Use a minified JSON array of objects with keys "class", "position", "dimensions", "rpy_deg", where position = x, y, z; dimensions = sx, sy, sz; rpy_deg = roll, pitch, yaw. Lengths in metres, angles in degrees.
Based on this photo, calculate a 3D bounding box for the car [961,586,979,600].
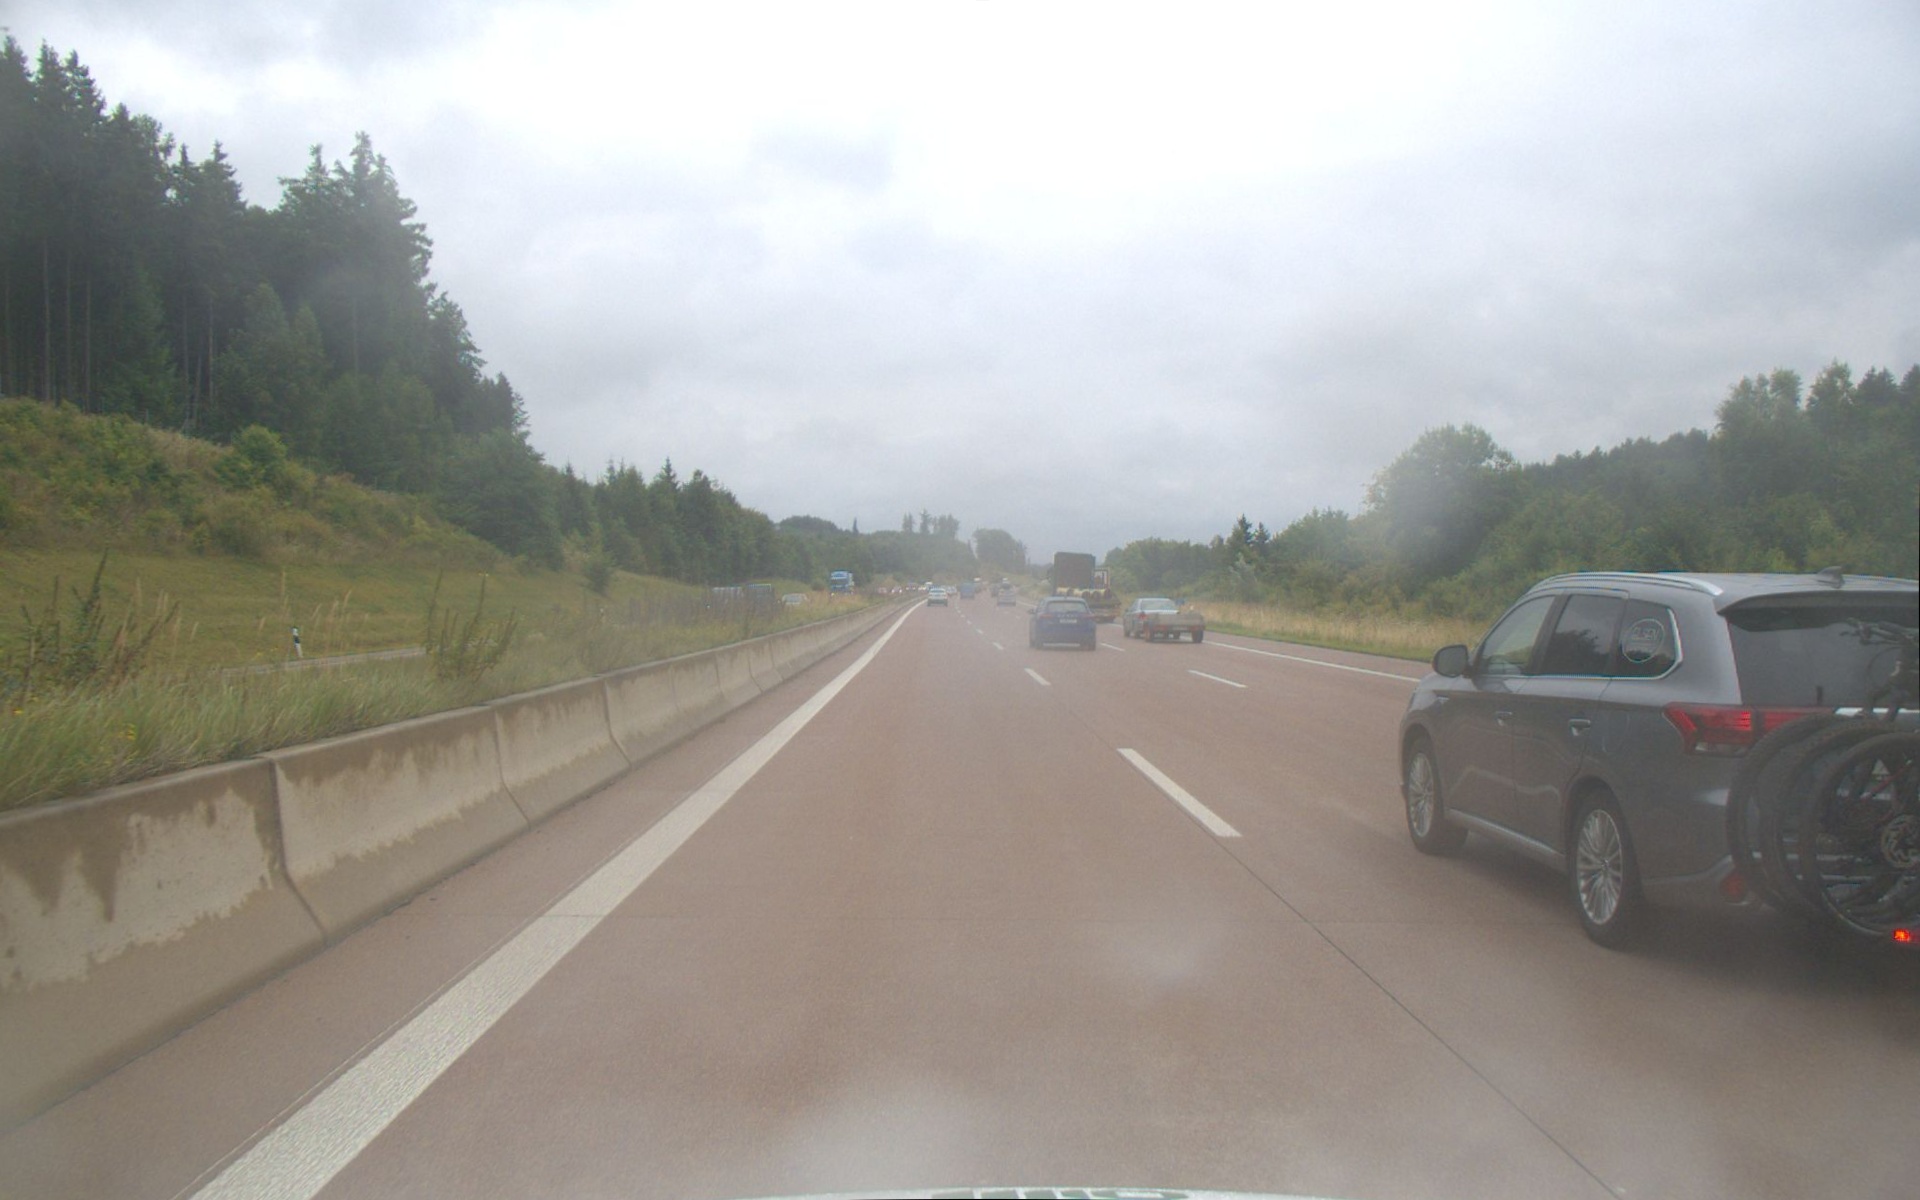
[{"class":"car","position":[1.282,-0.875,214.210],"dimensions":[2.275,1.780,4.877],"rpy_deg":[1,-1,0]}]

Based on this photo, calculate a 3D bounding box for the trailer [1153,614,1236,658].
[{"class":"trailer","position":[7.283,1.089,51.687],"dimensions":[1.931,1.187,4.639],"rpy_deg":[1,1,0]}]

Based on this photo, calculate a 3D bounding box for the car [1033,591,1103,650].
[{"class":"car","position":[3.070,0.574,47.565],"dimensions":[1.735,1.591,4.146],"rpy_deg":[1,-1,0]}]

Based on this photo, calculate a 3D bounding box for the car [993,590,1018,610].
[{"class":"car","position":[4.368,0.006,158.213],"dimensions":[2.275,1.780,4.877],"rpy_deg":[1,-1,0]}]

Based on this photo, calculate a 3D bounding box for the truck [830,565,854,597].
[{"class":"truck","position":[-17.356,-2.822,243.791],"dimensions":[2.905,4.394,7.648],"rpy_deg":[-4,1,-1]}]

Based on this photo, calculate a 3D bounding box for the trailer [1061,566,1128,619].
[{"class":"trailer","position":[7.290,-0.331,91.214],"dimensions":[2.822,2.722,11.398],"rpy_deg":[1,-1,0]}]

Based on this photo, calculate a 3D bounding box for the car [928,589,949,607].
[{"class":"car","position":[-1.924,-0.163,149.053],"dimensions":[1.835,1.469,4.878],"rpy_deg":[1,1,0]}]

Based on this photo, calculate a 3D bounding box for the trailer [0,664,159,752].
[{"class":"trailer","position":[-13.565,1.481,22.429],"dimensions":[2.160,1.015,6.849],"rpy_deg":[-1,-1,-1]}]

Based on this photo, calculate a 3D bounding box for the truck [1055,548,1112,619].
[{"class":"truck","position":[7.330,-0.919,98.893],"dimensions":[2.838,4.034,6.988],"rpy_deg":[1,-1,0]}]

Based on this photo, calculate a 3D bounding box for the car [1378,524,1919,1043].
[{"class":"car","position":[3.793,0.616,8.105],"dimensions":[1.953,1.620,5.819],"rpy_deg":[1,-1,-1]}]

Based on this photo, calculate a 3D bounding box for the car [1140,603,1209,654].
[{"class":"car","position":[7.206,0.931,55.894],"dimensions":[1.663,1.640,4.976],"rpy_deg":[0,0,0]}]
